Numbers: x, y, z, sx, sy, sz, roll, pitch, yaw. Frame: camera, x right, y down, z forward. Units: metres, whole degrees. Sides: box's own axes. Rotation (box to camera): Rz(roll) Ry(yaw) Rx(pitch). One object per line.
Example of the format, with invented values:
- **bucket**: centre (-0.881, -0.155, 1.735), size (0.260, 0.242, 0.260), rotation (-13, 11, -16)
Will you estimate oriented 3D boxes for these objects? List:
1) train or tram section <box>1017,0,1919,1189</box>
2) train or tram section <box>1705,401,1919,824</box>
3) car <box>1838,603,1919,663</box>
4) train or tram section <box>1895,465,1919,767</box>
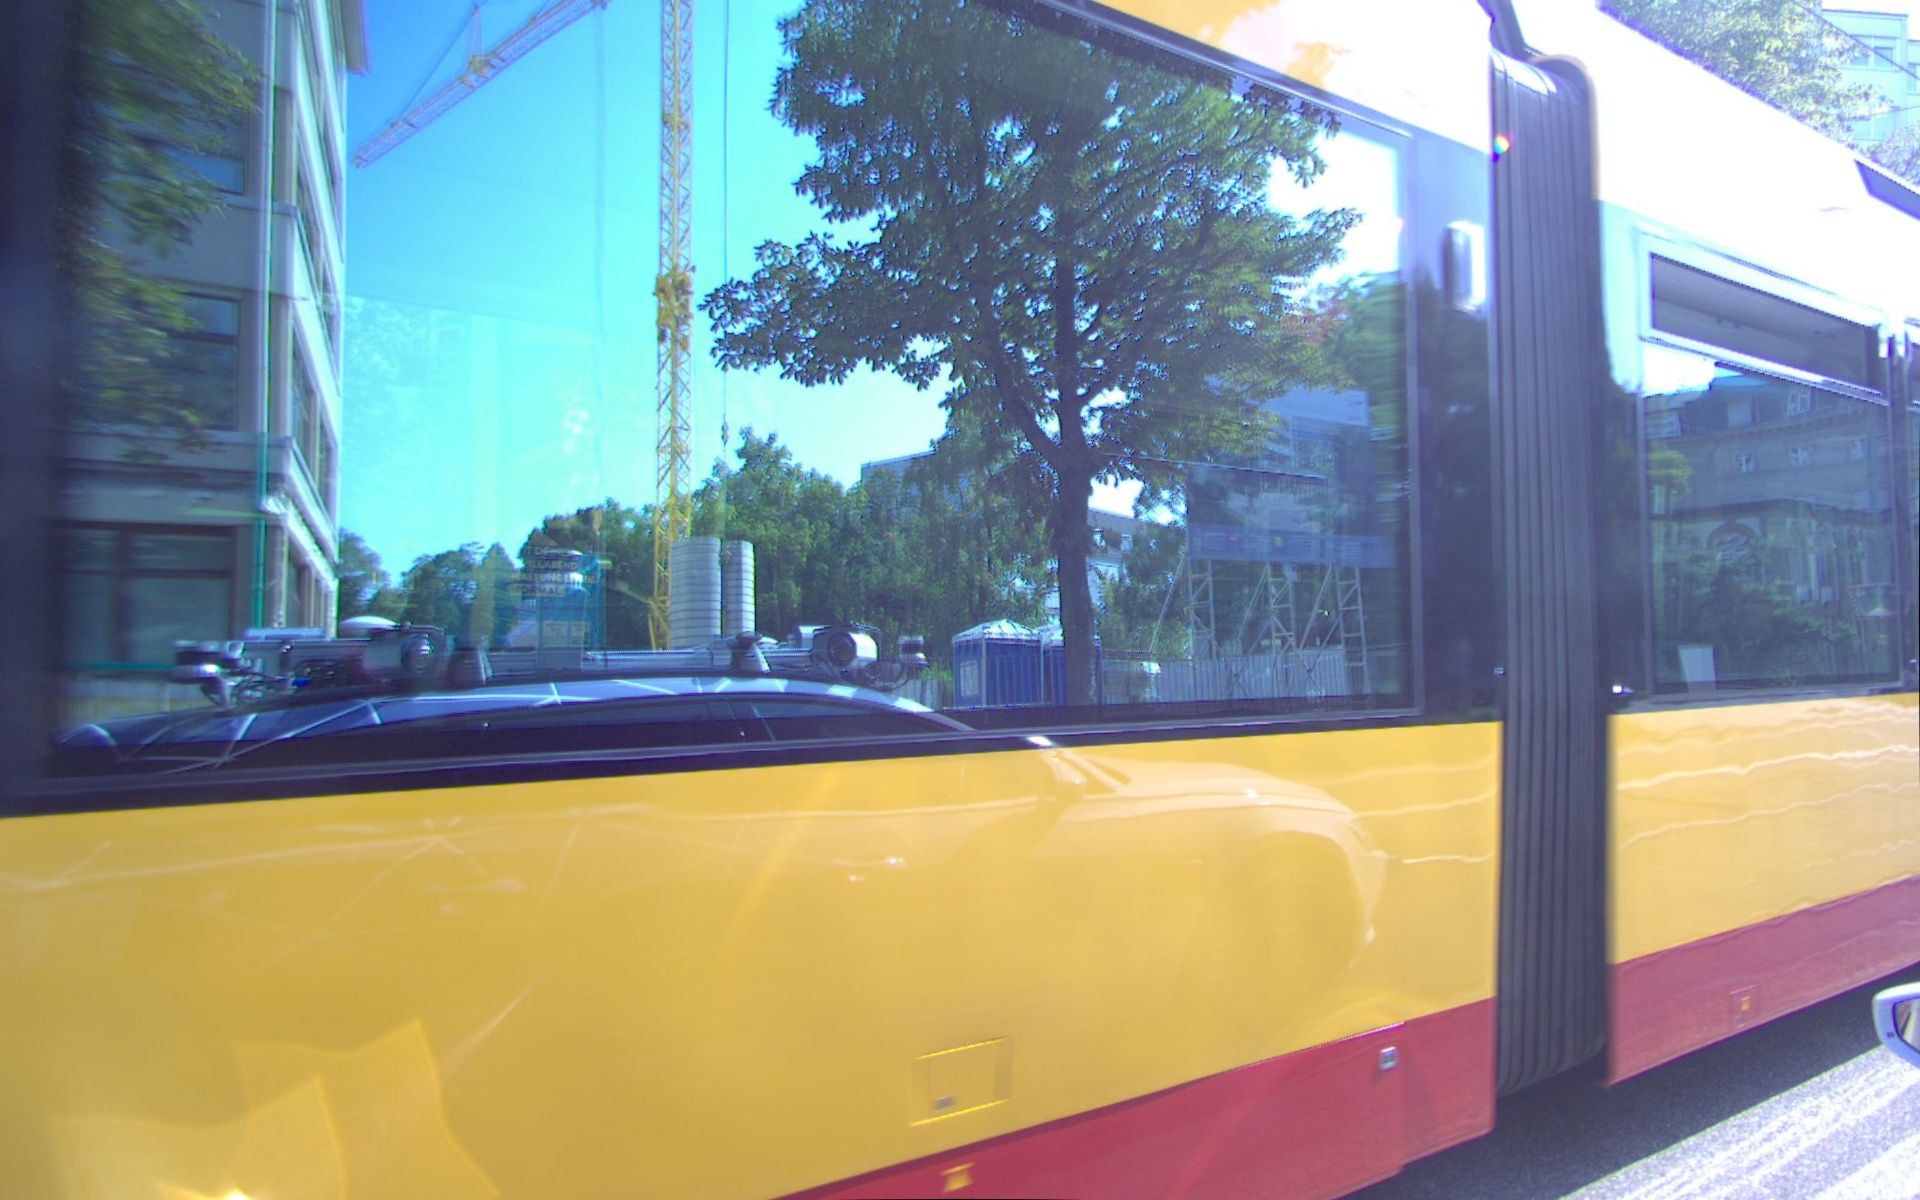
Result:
- **train or tram section**: centre (3.753, 0.029, 5.207), size (6.464, 2.887, 2.717), rotation (1, 0, -29)
- **train or tram section**: centre (8.172, 0.116, 7.708), size (3.605, 2.895, 2.694), rotation (1, 0, -29)
- **car**: centre (24.578, 0.834, 25.067), size (3.687, 1.462, 1.571), rotation (1, 0, 11)
- **train or tram section**: centre (14.286, 0.245, 11.192), size (10.417, 2.900, 2.668), rotation (1, 0, -30)
